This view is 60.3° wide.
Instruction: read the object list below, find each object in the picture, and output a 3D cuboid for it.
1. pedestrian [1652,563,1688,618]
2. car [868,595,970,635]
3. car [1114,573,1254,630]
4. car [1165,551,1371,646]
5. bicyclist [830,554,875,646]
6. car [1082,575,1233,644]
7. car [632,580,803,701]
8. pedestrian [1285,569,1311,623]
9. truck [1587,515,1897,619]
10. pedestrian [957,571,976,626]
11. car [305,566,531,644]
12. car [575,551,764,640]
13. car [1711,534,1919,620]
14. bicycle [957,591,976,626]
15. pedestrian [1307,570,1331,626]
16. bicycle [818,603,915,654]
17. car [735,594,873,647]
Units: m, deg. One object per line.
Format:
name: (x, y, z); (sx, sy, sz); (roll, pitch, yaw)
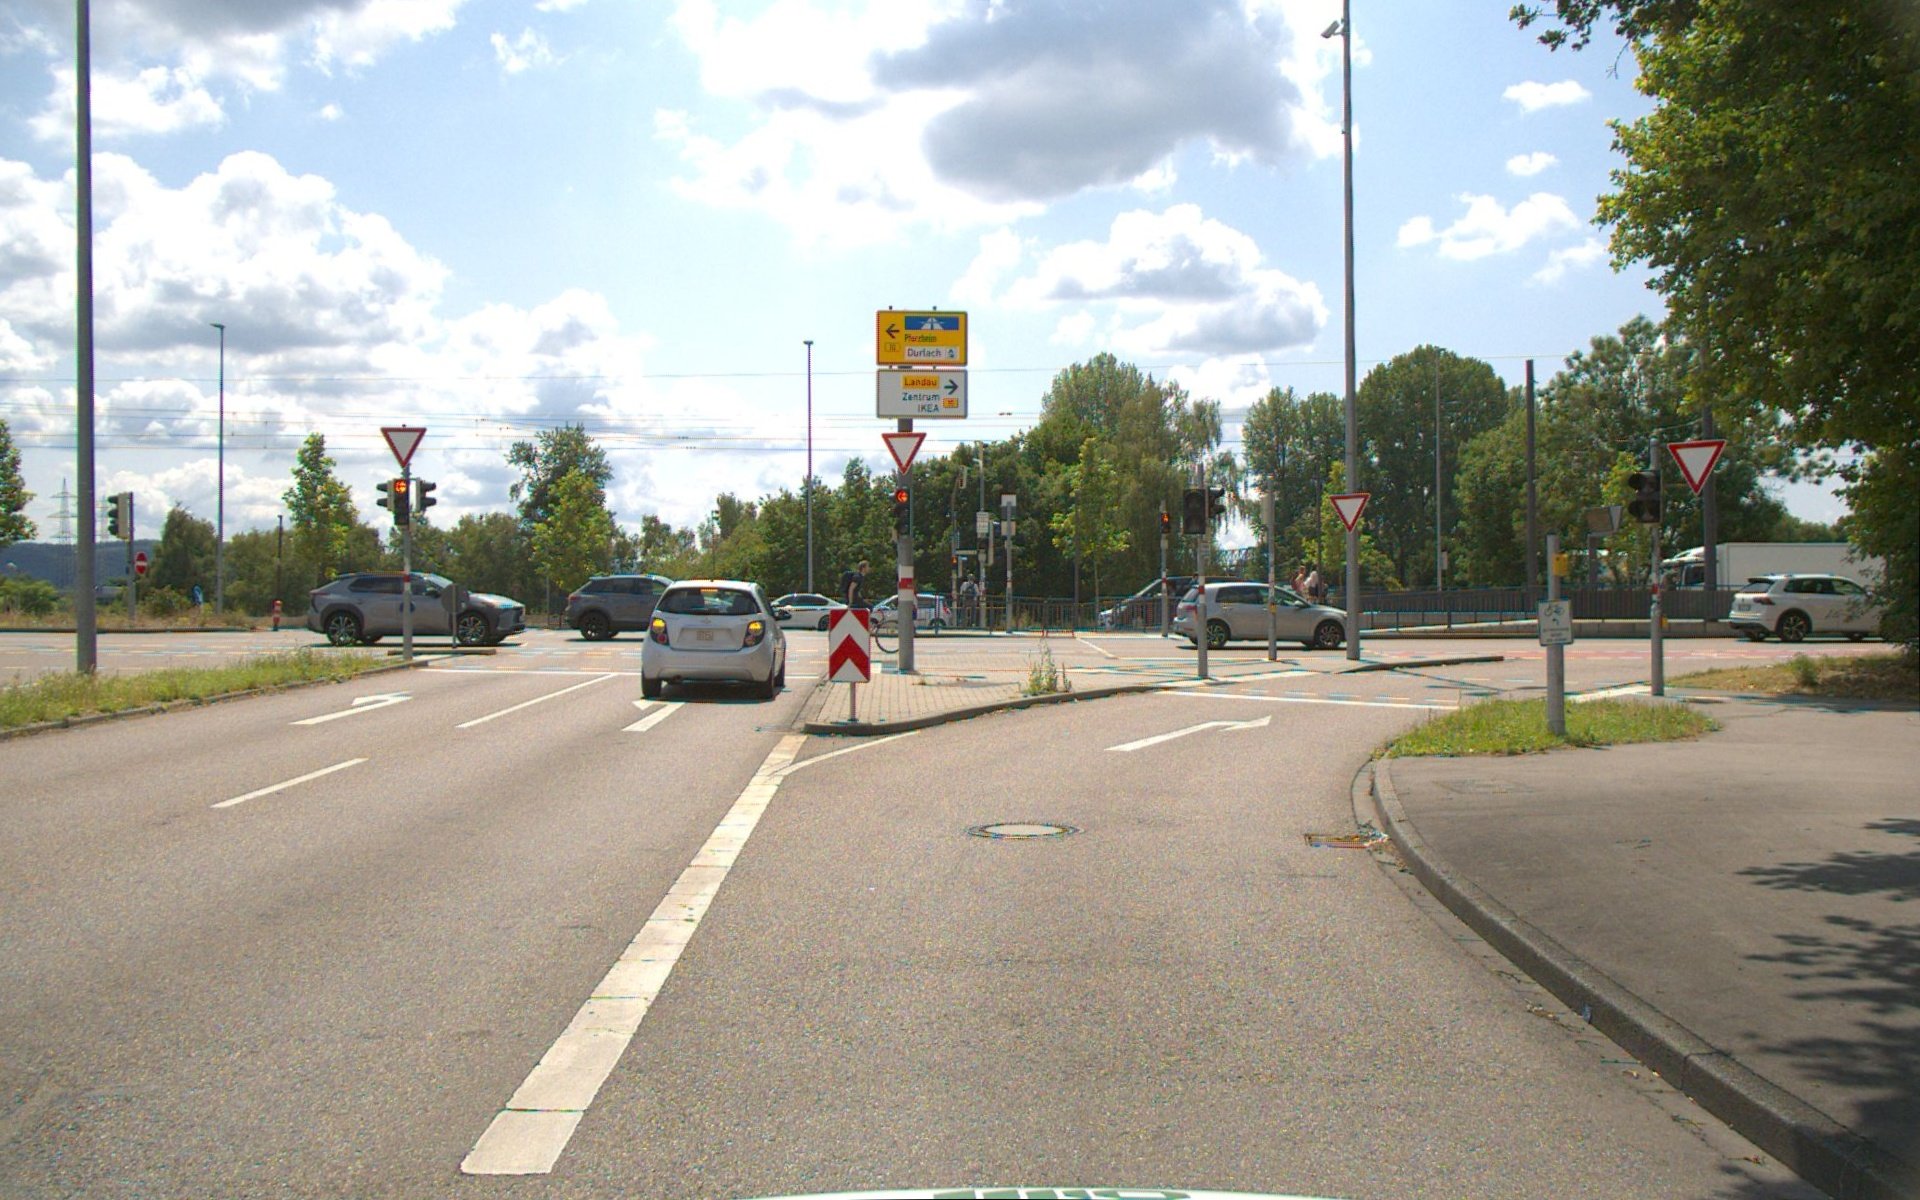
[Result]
pedestrian: (24.232, -0.332, 56.447); (0.908, 1.839, 0.736); (0, 0, -3)
car: (-1.677, 0.601, 66.411); (3.949, 1.490, 1.931); (-1, 0, -5)
car: (7.786, 0.056, 57.836); (4.558, 1.852, 1.999); (-1, 0, -3)
car: (6.982, -0.032, 37.760); (4.262, 2.024, 1.999); (-1, 0, -3)
bicyclist: (-2.215, -0.005, 34.239); (0.902, 1.878, 0.611); (0, 0, -3)
car: (5.525, 0.245, 46.607); (3.908, 1.814, 1.908); (-1, 0, -4)
car: (-3.230, 0.501, 22.745); (1.856, 1.495, 3.832); (1, 0, -2)
pedestrian: (11.120, -0.127, 54.465); (0.691, 1.751, 0.601); (-1, 0, 0)
truck: (32.604, -1.360, 69.217); (11.717, 4.176, 2.951); (0, 0, -2)
pedestrian: (0.205, -0.060, 54.308); (0.598, 1.800, 0.672); (-1, 0, -1)
car: (-12.045, 0.110, 36.955); (4.414, 1.704, 1.903); (0, 0, -2)
car: (-7.012, -0.114, 40.241); (4.262, 2.024, 1.999); (-1, 0, -3)
car: (21.421, -0.568, 41.457); (4.262, 2.024, 1.999); (-1, 0, -3)
bicycle: (0.205, 0.275, 54.343); (0.606, 1.106, 1.722); (0, 0, 0)
pedestrian: (11.632, -0.061, 53.624); (0.662, 1.778, 0.637); (0, 2, 0)
bicycle: (-1.930, 0.587, 34.244); (1.976, 1.016, 0.622); (1, 1, -3)
car: (-5.811, 0.759, 62.121); (5.015, 1.839, 1.999); (-1, 0, -3)
